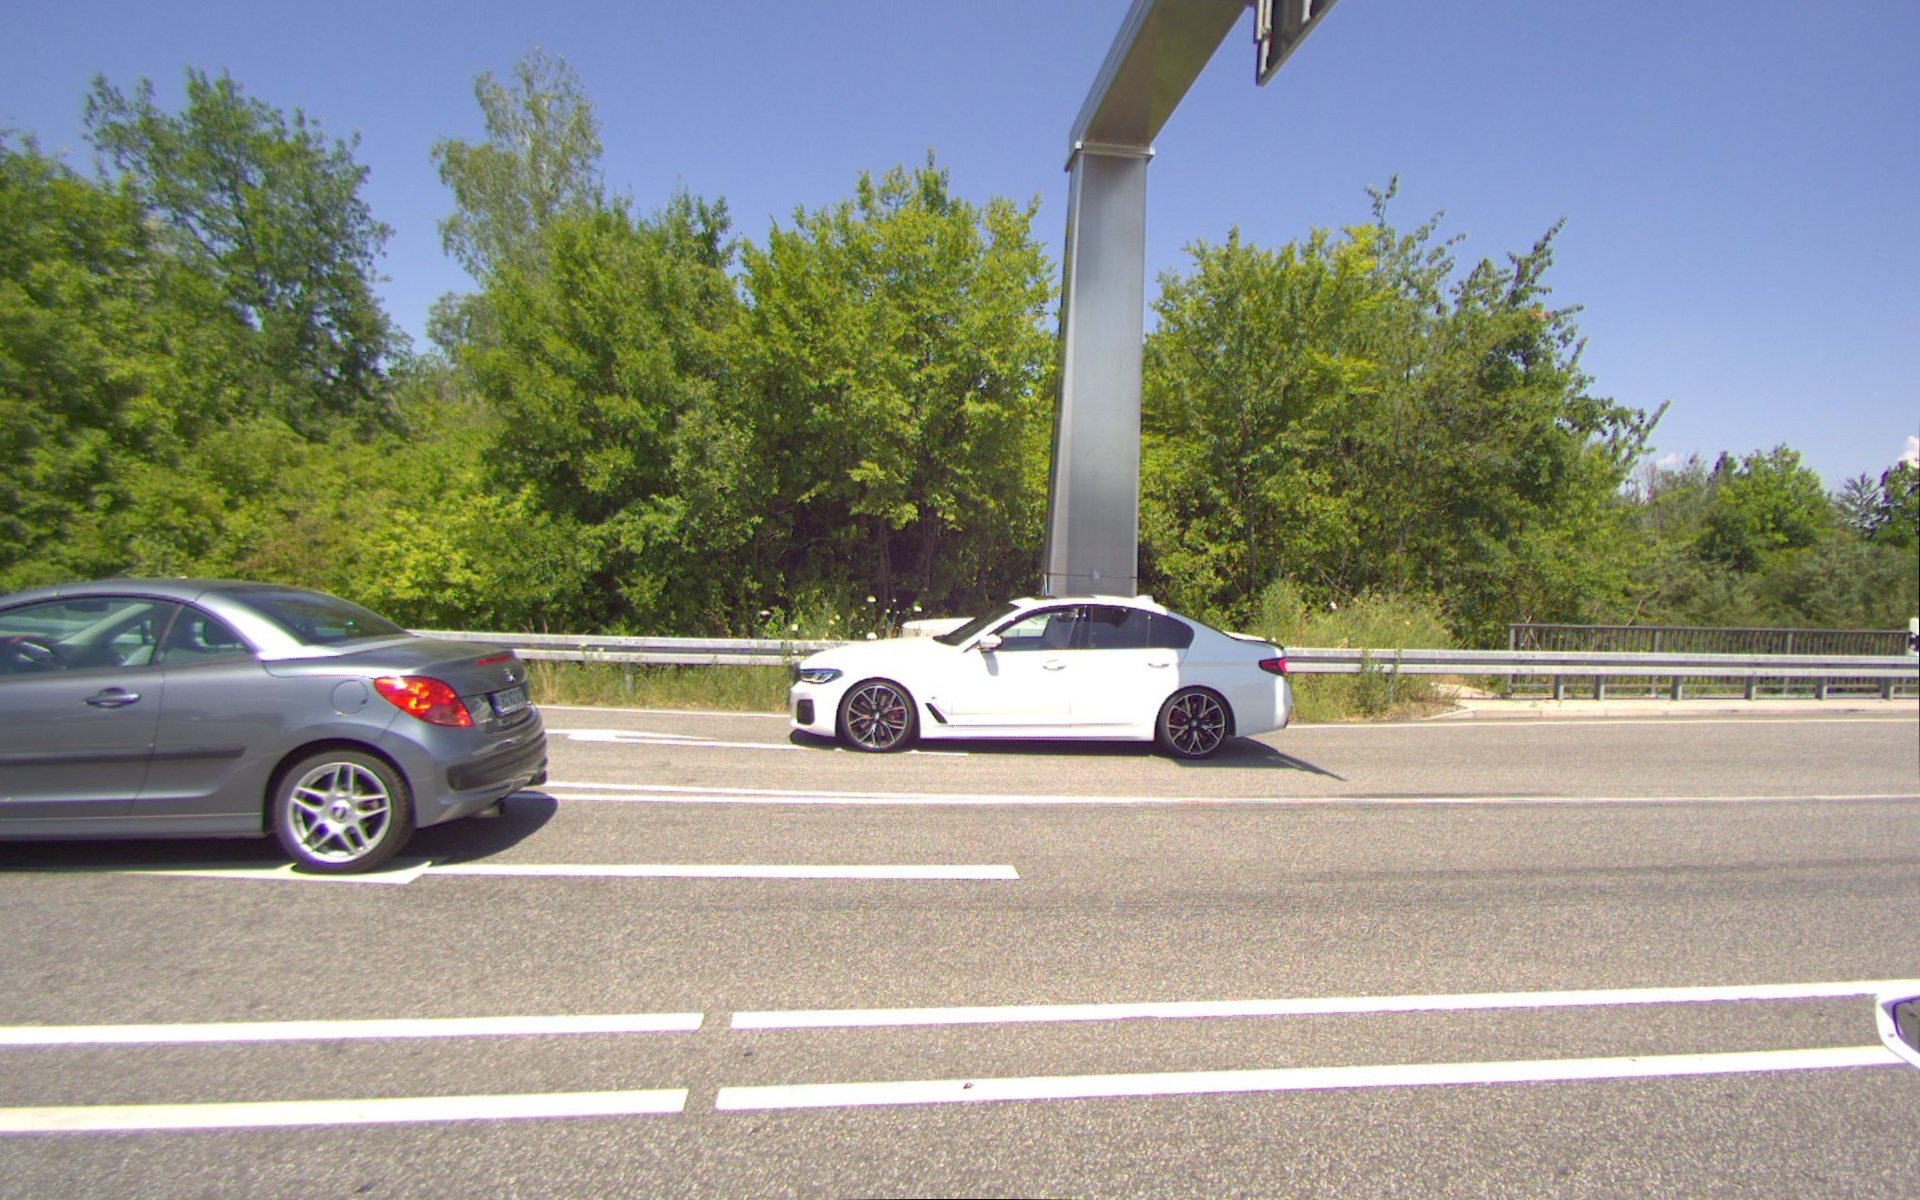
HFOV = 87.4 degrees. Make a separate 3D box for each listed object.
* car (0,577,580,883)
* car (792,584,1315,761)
[{"bbox_3d":[-4.267,0.584,5.332,3.895,1.370,1.649,1,0,-8],"label":"car"},{"bbox_3d":[0.825,0.668,9.988,4.746,1.504,1.842,2,0,-5],"label":"car"}]
